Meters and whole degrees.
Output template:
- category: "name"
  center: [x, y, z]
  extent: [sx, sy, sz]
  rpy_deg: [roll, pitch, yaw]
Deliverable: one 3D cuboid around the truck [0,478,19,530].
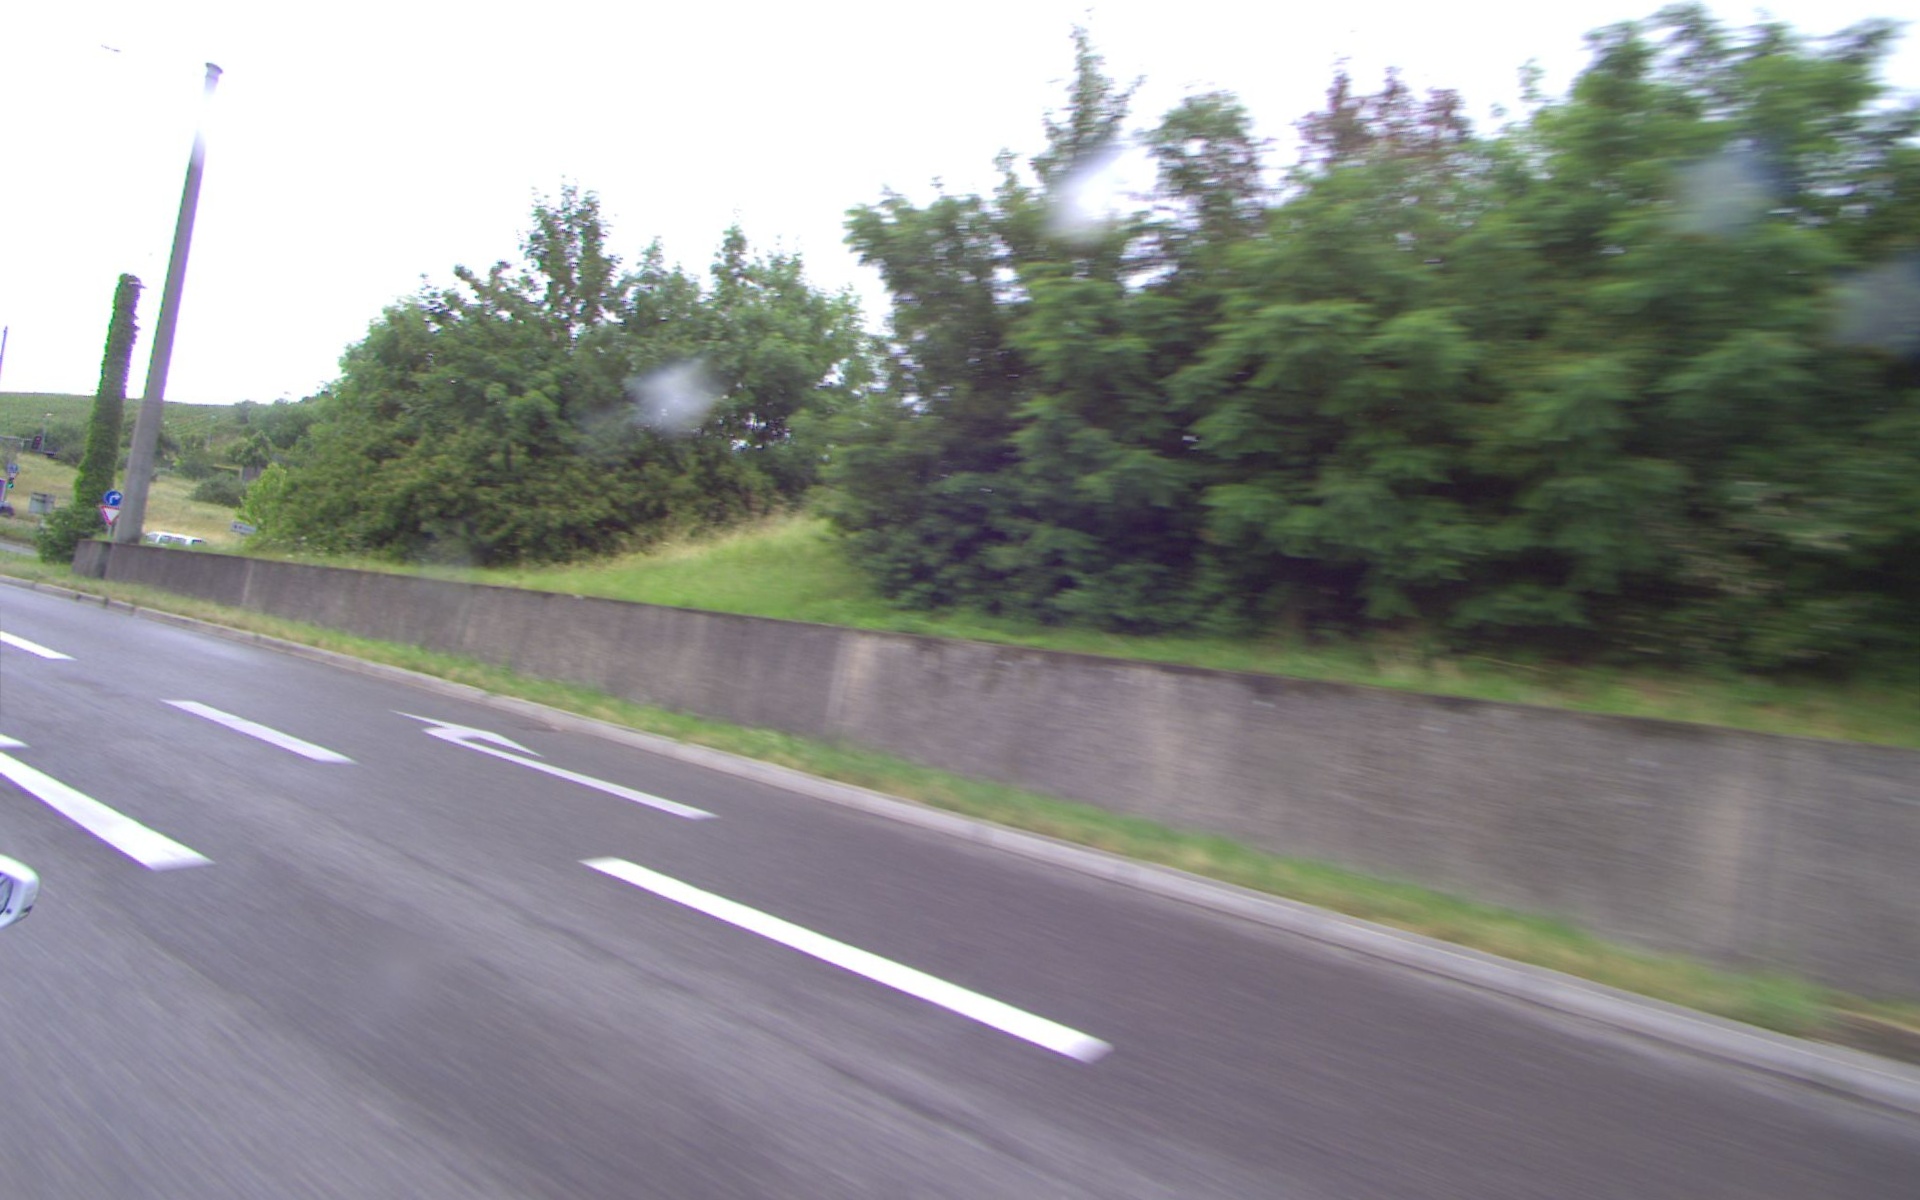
- category: "truck"
  center: [-73.454, -7.631, 73.943]
  extent: [6.118, 3.567, 2.860]
  rpy_deg: [11, 0, 10]
